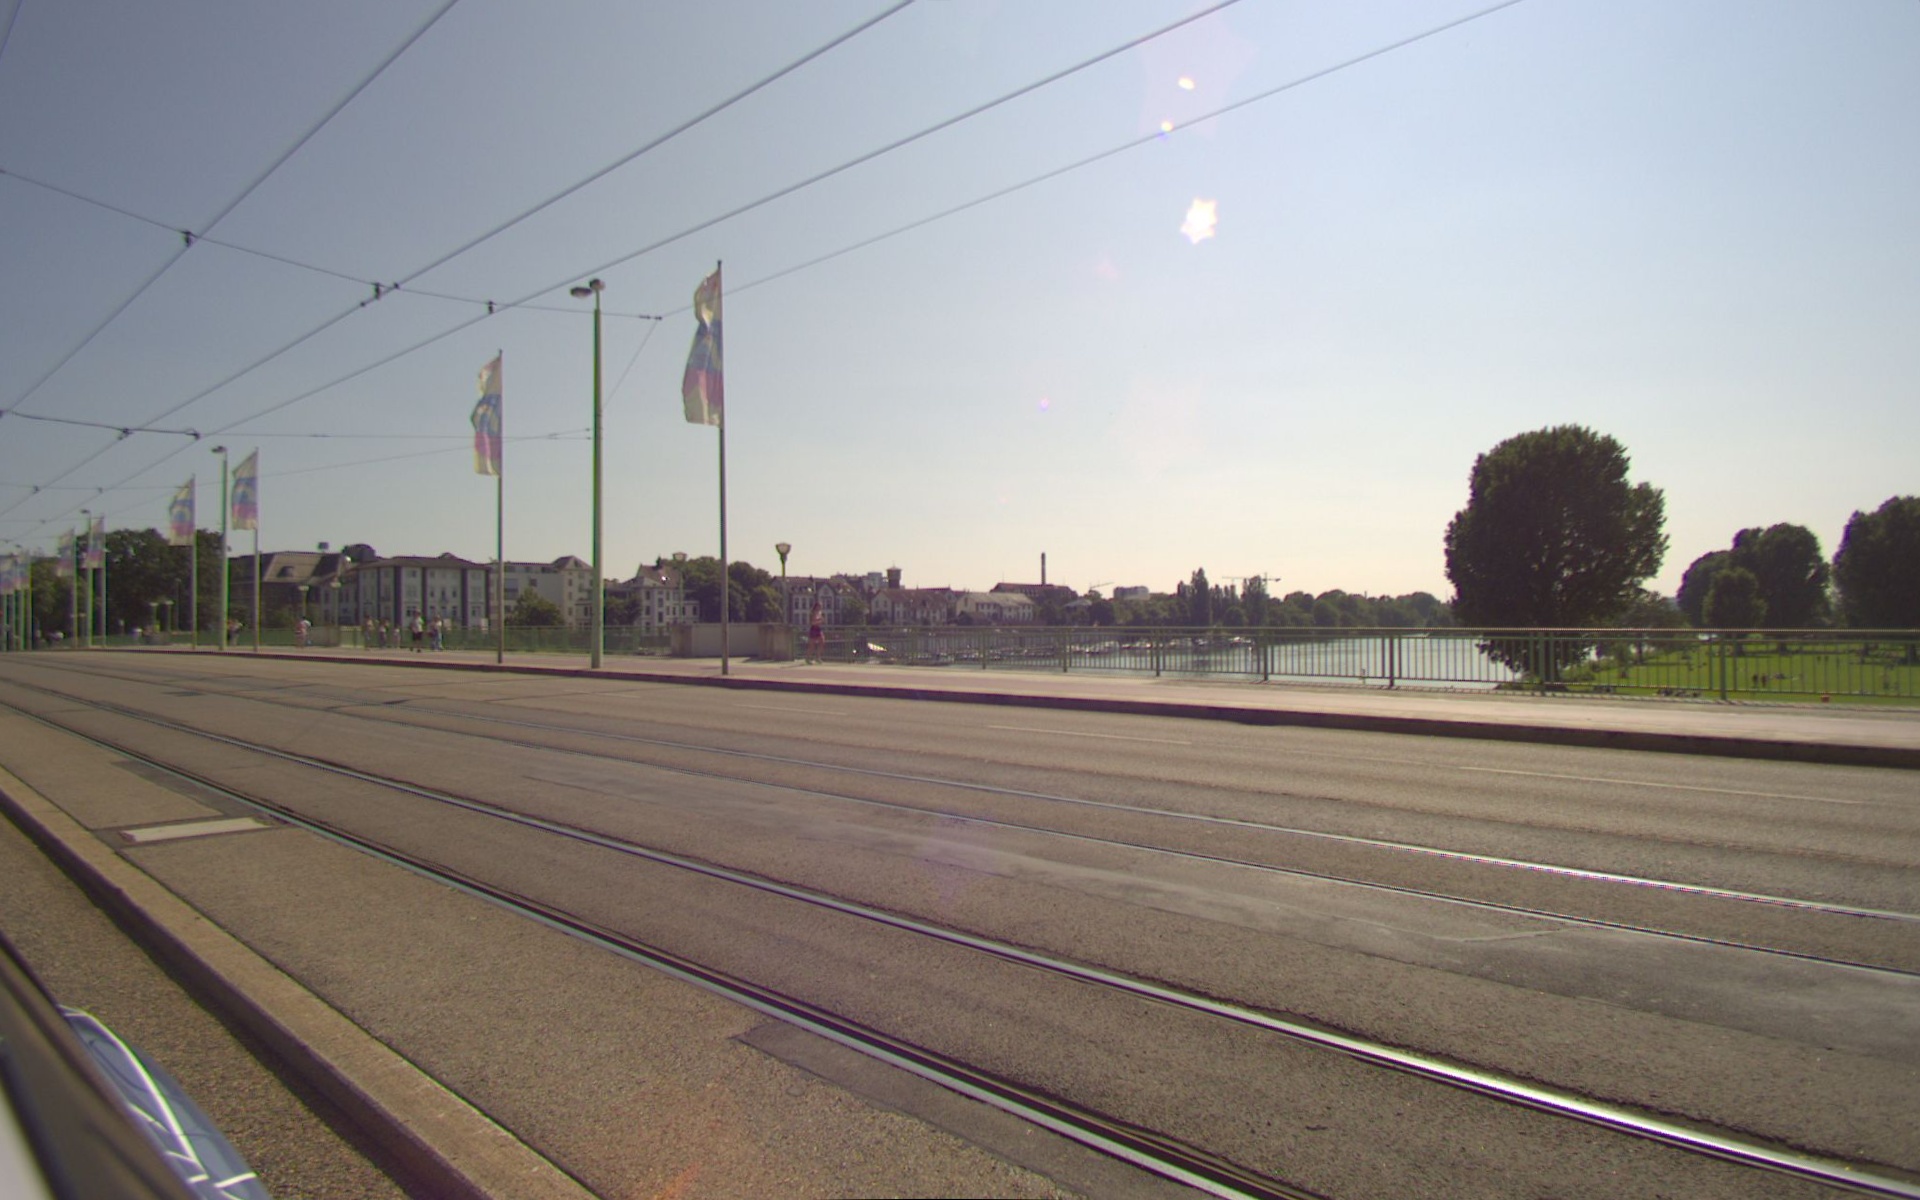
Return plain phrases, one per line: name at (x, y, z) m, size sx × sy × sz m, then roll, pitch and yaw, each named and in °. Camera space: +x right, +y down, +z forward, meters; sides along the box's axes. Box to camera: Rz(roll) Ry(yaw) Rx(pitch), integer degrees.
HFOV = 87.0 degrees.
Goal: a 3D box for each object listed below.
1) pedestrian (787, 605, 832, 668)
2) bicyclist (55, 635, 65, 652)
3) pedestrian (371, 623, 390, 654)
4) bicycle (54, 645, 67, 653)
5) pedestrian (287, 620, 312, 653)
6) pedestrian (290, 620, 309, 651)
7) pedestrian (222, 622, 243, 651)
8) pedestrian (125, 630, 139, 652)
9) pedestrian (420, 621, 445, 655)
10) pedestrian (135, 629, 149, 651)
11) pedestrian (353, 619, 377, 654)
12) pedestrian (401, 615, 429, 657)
pedestrian at (-4.173, 1.003, 28.063) m, size 1.022 × 1.703 × 0.677 m, roll -2°, pitch 0°, yaw 41°
bicyclist at (-87.403, 4.222, 98.301) m, size 0.621 × 1.663 × 0.657 m, roll -2°, pitch -2°, yaw 42°
pedestrian at (-27.788, 1.847, 48.524) m, size 0.788 × 1.448 × 0.540 m, roll -2°, pitch 0°, yaw 41°
bicycle at (-87.447, 4.792, 98.354) m, size 2.171 × 0.721 × 0.658 m, roll -2°, pitch -1°, yaw 41°
pedestrian at (-35.094, 1.920, 53.764) m, size 1.022 × 1.712 × 0.777 m, roll -2°, pitch 1°, yaw 41°
pedestrian at (-36.703, 1.967, 56.266) m, size 1.022 × 1.712 × 0.584 m, roll -2°, pitch 0°, yaw 41°
pedestrian at (-44.555, 2.232, 62.015) m, size 1.022 × 1.712 × 0.777 m, roll -2°, pitch 1°, yaw 41°
pedestrian at (-67.553, 3.347, 82.584) m, size 1.022 × 1.712 × 0.584 m, roll -2°, pitch 3°, yaw 41°
pedestrian at (-22.937, 1.632, 44.034) m, size 1.022 × 1.425 × 0.584 m, roll -2°, pitch 0°, yaw 41°
pedestrian at (-67.131, 3.287, 83.039) m, size 0.904 × 1.712 × 0.584 m, roll -2°, pitch 3°, yaw 41°
pedestrian at (-28.287, 1.740, 48.118) m, size 1.022 × 1.611 × 0.620 m, roll -2°, pitch 0°, yaw 41°
pedestrian at (-23.313, 1.535, 43.295) m, size 1.022 × 1.712 × 0.663 m, roll -2°, pitch 0°, yaw 41°
